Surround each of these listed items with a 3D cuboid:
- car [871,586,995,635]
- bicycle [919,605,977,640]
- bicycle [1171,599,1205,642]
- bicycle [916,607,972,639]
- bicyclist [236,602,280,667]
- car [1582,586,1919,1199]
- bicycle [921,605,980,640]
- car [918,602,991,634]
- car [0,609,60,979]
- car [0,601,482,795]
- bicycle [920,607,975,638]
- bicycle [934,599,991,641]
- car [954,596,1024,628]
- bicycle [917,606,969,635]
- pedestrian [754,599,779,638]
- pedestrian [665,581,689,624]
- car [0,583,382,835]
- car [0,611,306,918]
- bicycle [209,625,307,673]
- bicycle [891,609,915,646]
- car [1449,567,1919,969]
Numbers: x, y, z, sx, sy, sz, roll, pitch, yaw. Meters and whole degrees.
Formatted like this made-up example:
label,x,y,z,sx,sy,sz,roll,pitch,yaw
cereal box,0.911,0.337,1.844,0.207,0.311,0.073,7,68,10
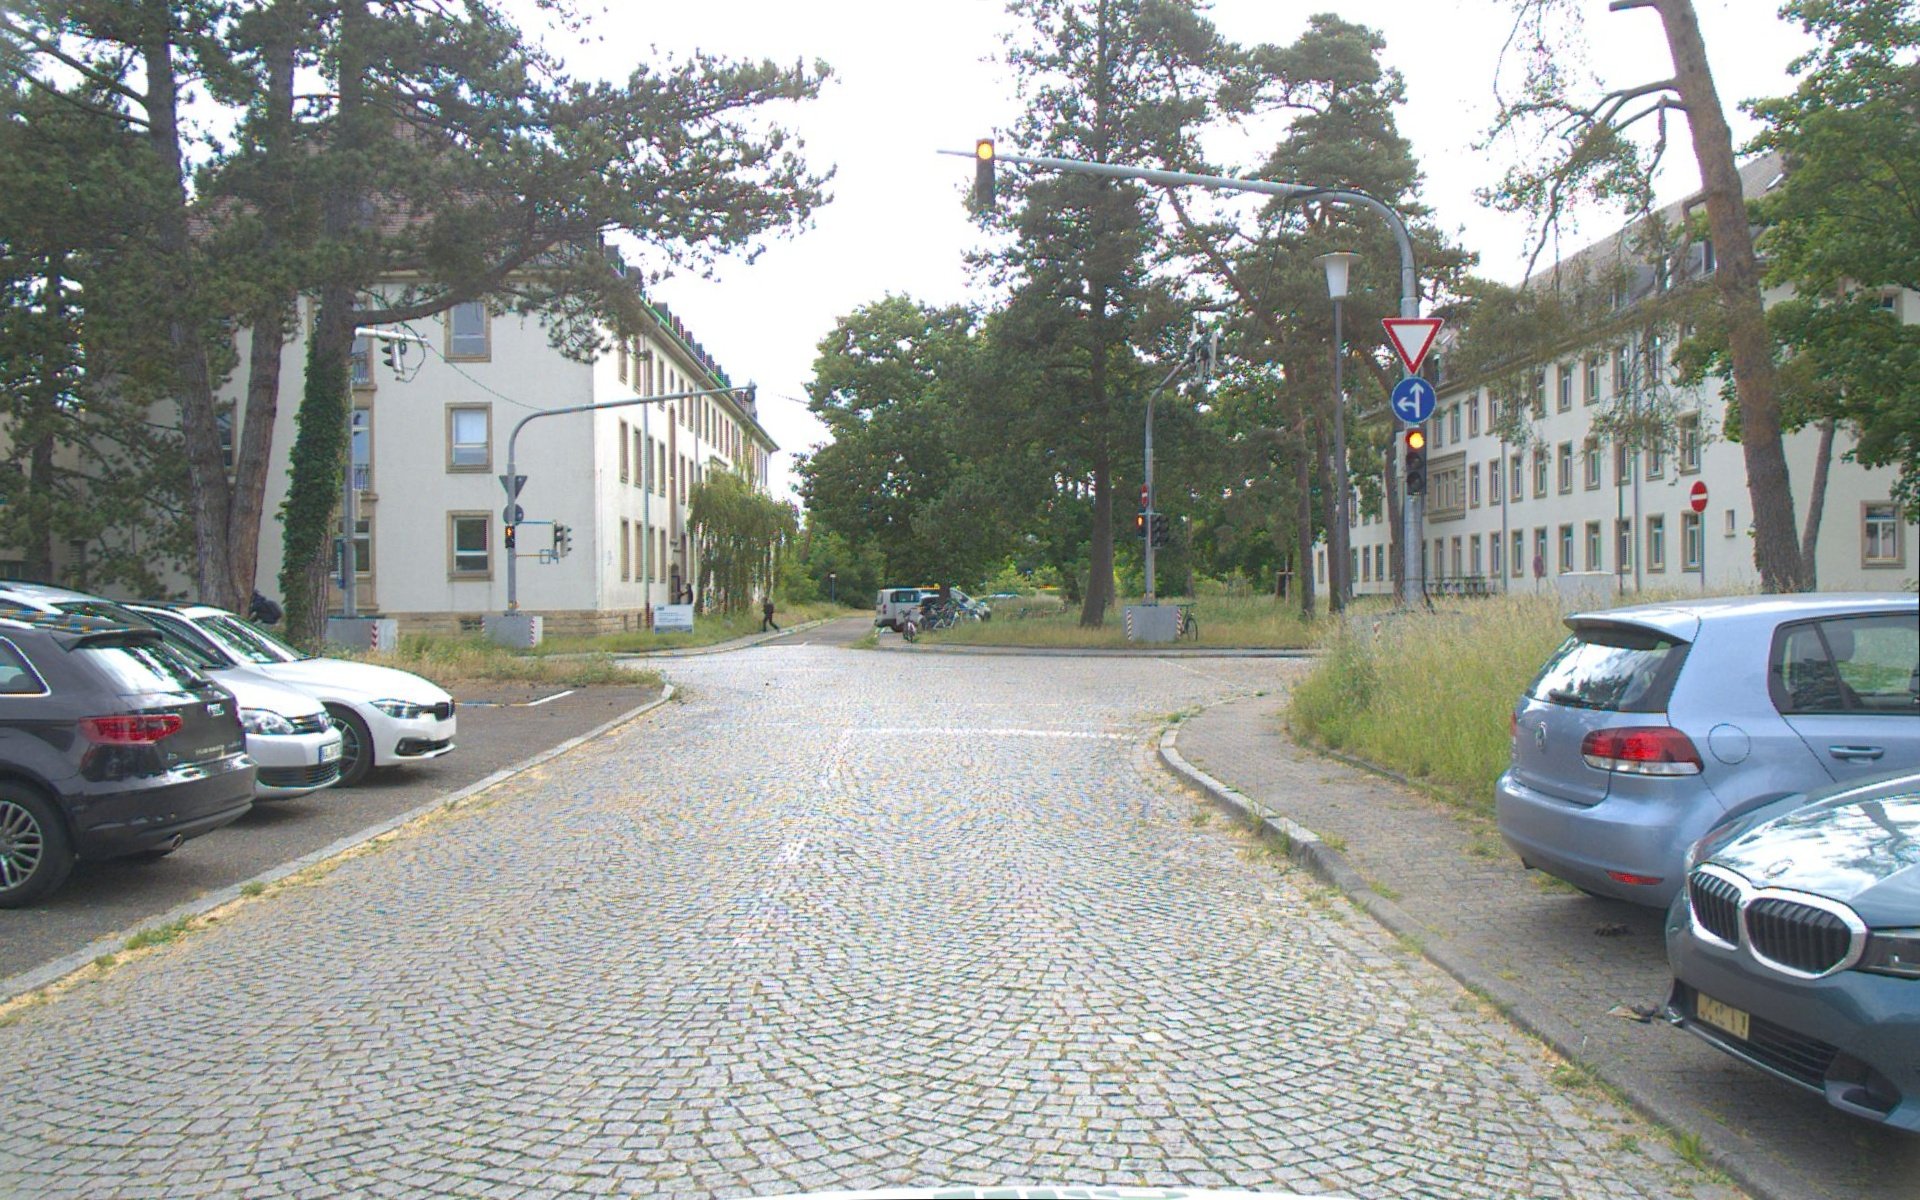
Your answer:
label,x,y,z,sx,sy,sz,roll,pitch,yaw
car,-1.223,0.472,74.127,5.265,1.958,2.020,-2,0,-11
bicycle,-0.415,0.773,56.697,1.919,1.136,0.587,-1,0,-9
bicycle,6.079,0.534,44.165,0.574,1.125,1.961,-1,0,-2
bicycle,-0.561,0.798,58.176,1.936,1.088,0.582,-1,0,-32
bicyclist,-15.803,0.779,37.233,0.734,1.435,0.605,-1,0,-2
car,4.510,0.622,4.919,4.589,1.441,1.869,-3,0,-4
bicycle,-0.335,0.749,56.067,1.919,1.152,0.587,-1,0,-9
car,-0.253,0.742,70.794,2.949,1.290,1.533,-1,0,-8
car,-5.681,0.741,6.230,3.630,1.505,1.581,2,0,-5
car,-6.275,0.796,14.132,3.868,1.446,1.649,2,0,-3
bicycle,-0.451,0.797,59.530,1.936,1.088,0.582,-1,0,-32
bicycle,0.090,0.684,57.546,1.919,1.408,0.587,-1,0,-9
car,1.345,0.549,78.093,3.168,1.441,1.723,-1,0,-5
bicycle,-0.635,0.784,63.211,1.931,1.088,0.583,-1,0,-27
pedestrian,-8.229,0.778,70.438,0.758,1.647,0.741,-1,0,23
pedestrian,-12.231,0.107,71.420,0.767,1.869,0.732,-1,0,-33
car,-6.288,0.694,11.594,3.870,1.590,1.648,2,0,-5
car,-5.660,0.789,8.829,3.673,1.453,1.581,2,0,-5
bicycle,-15.797,1.097,37.238,1.915,1.042,0.605,-1,0,-2
bicycle,-1.817,0.874,52.821,0.591,1.152,1.958,-1,0,-7
car,4.366,0.613,7.366,3.847,1.503,1.642,-3,0,0
